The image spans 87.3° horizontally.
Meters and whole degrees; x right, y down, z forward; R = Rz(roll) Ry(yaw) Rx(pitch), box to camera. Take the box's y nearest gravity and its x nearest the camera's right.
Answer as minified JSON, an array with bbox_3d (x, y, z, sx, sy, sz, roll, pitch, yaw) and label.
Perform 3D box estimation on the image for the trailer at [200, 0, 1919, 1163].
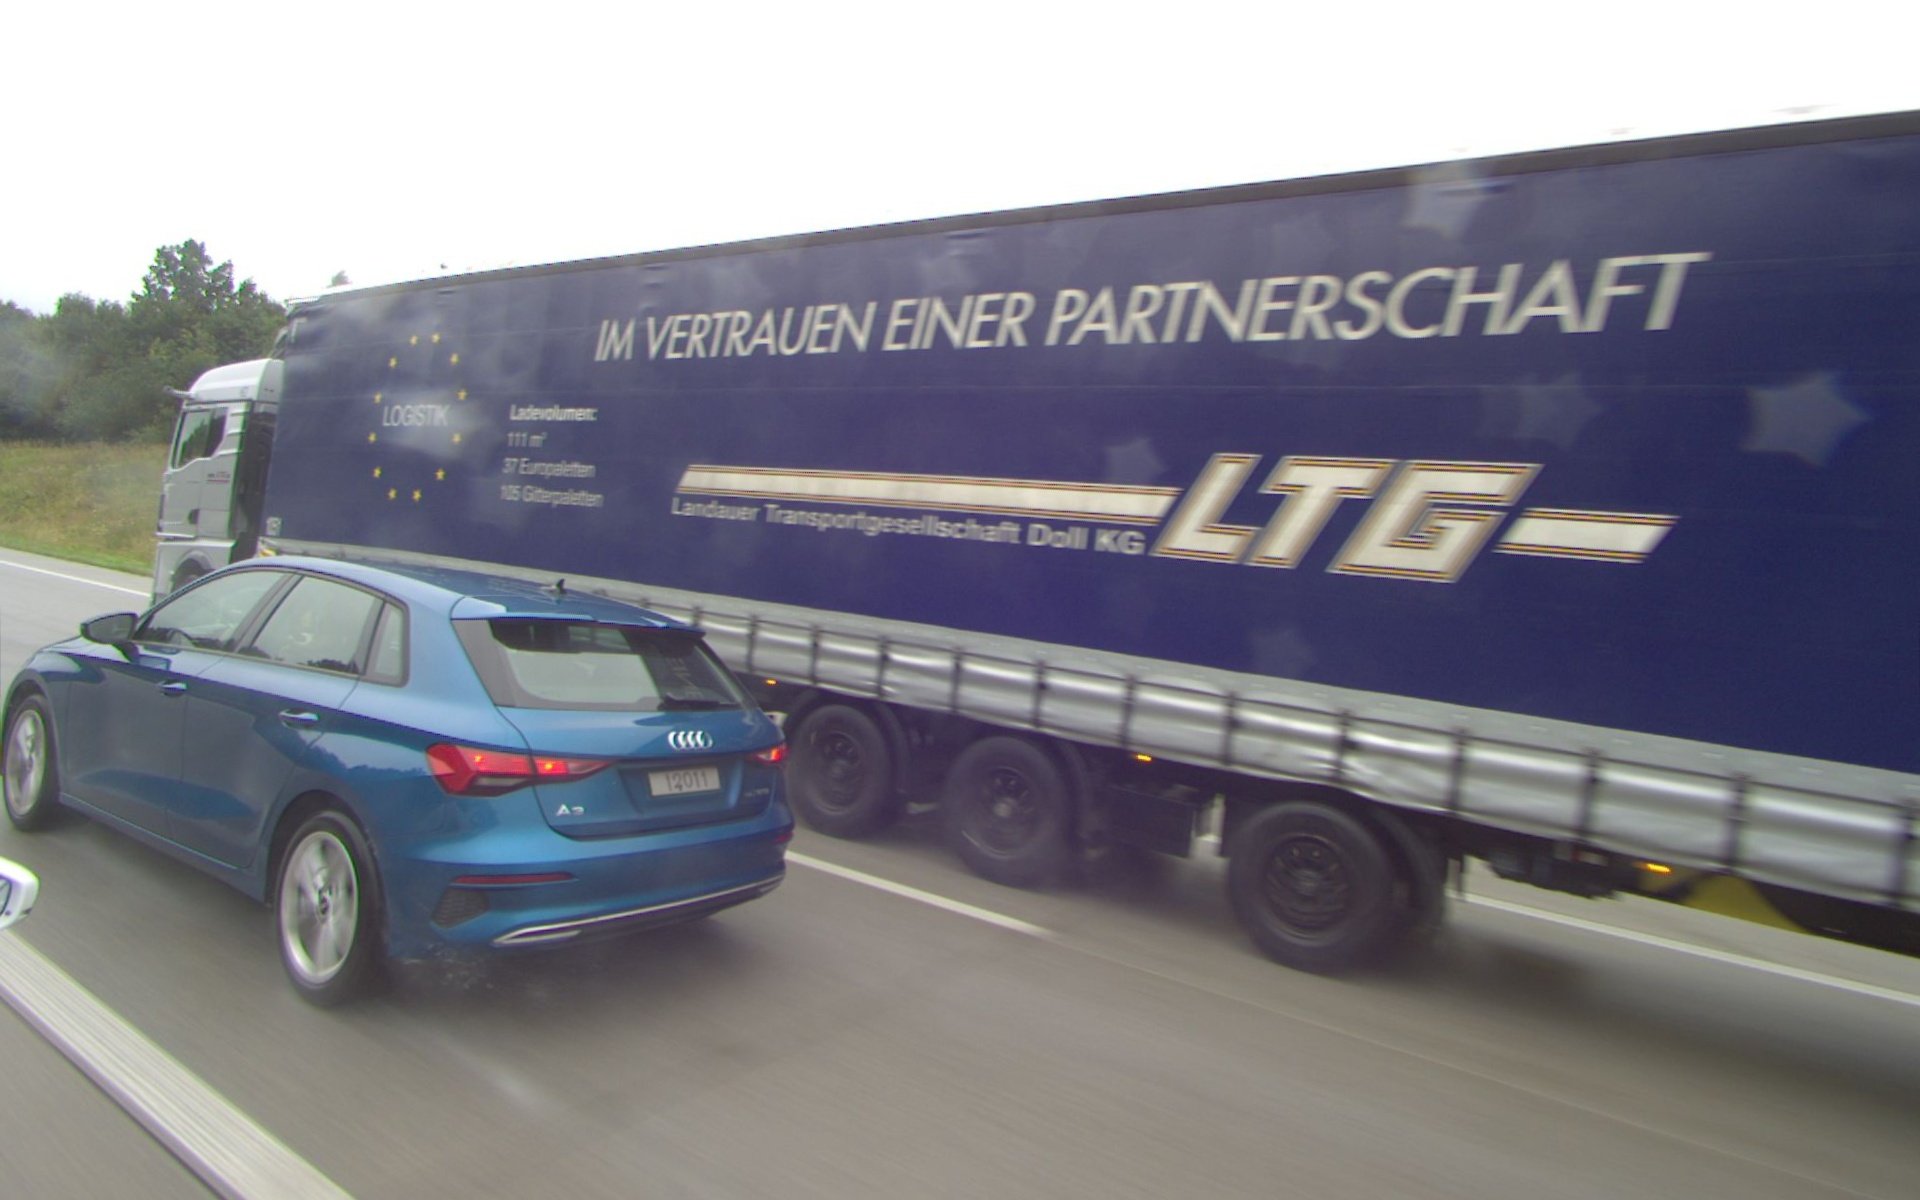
[{"bbox_3d":[-1.034,-0.668,8.236,14.952,4.431,2.711,7,-1,32],"label":"trailer"}]

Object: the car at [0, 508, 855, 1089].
[{"bbox_3d":[-2.907,0.489,4.739,4.595,1.477,1.731,6,-1,32],"label":"car"}]

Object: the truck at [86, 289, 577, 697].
[{"bbox_3d":[-7.896,-1.219,12.497,5.592,4.000,2.641,7,-1,32],"label":"truck"}]
